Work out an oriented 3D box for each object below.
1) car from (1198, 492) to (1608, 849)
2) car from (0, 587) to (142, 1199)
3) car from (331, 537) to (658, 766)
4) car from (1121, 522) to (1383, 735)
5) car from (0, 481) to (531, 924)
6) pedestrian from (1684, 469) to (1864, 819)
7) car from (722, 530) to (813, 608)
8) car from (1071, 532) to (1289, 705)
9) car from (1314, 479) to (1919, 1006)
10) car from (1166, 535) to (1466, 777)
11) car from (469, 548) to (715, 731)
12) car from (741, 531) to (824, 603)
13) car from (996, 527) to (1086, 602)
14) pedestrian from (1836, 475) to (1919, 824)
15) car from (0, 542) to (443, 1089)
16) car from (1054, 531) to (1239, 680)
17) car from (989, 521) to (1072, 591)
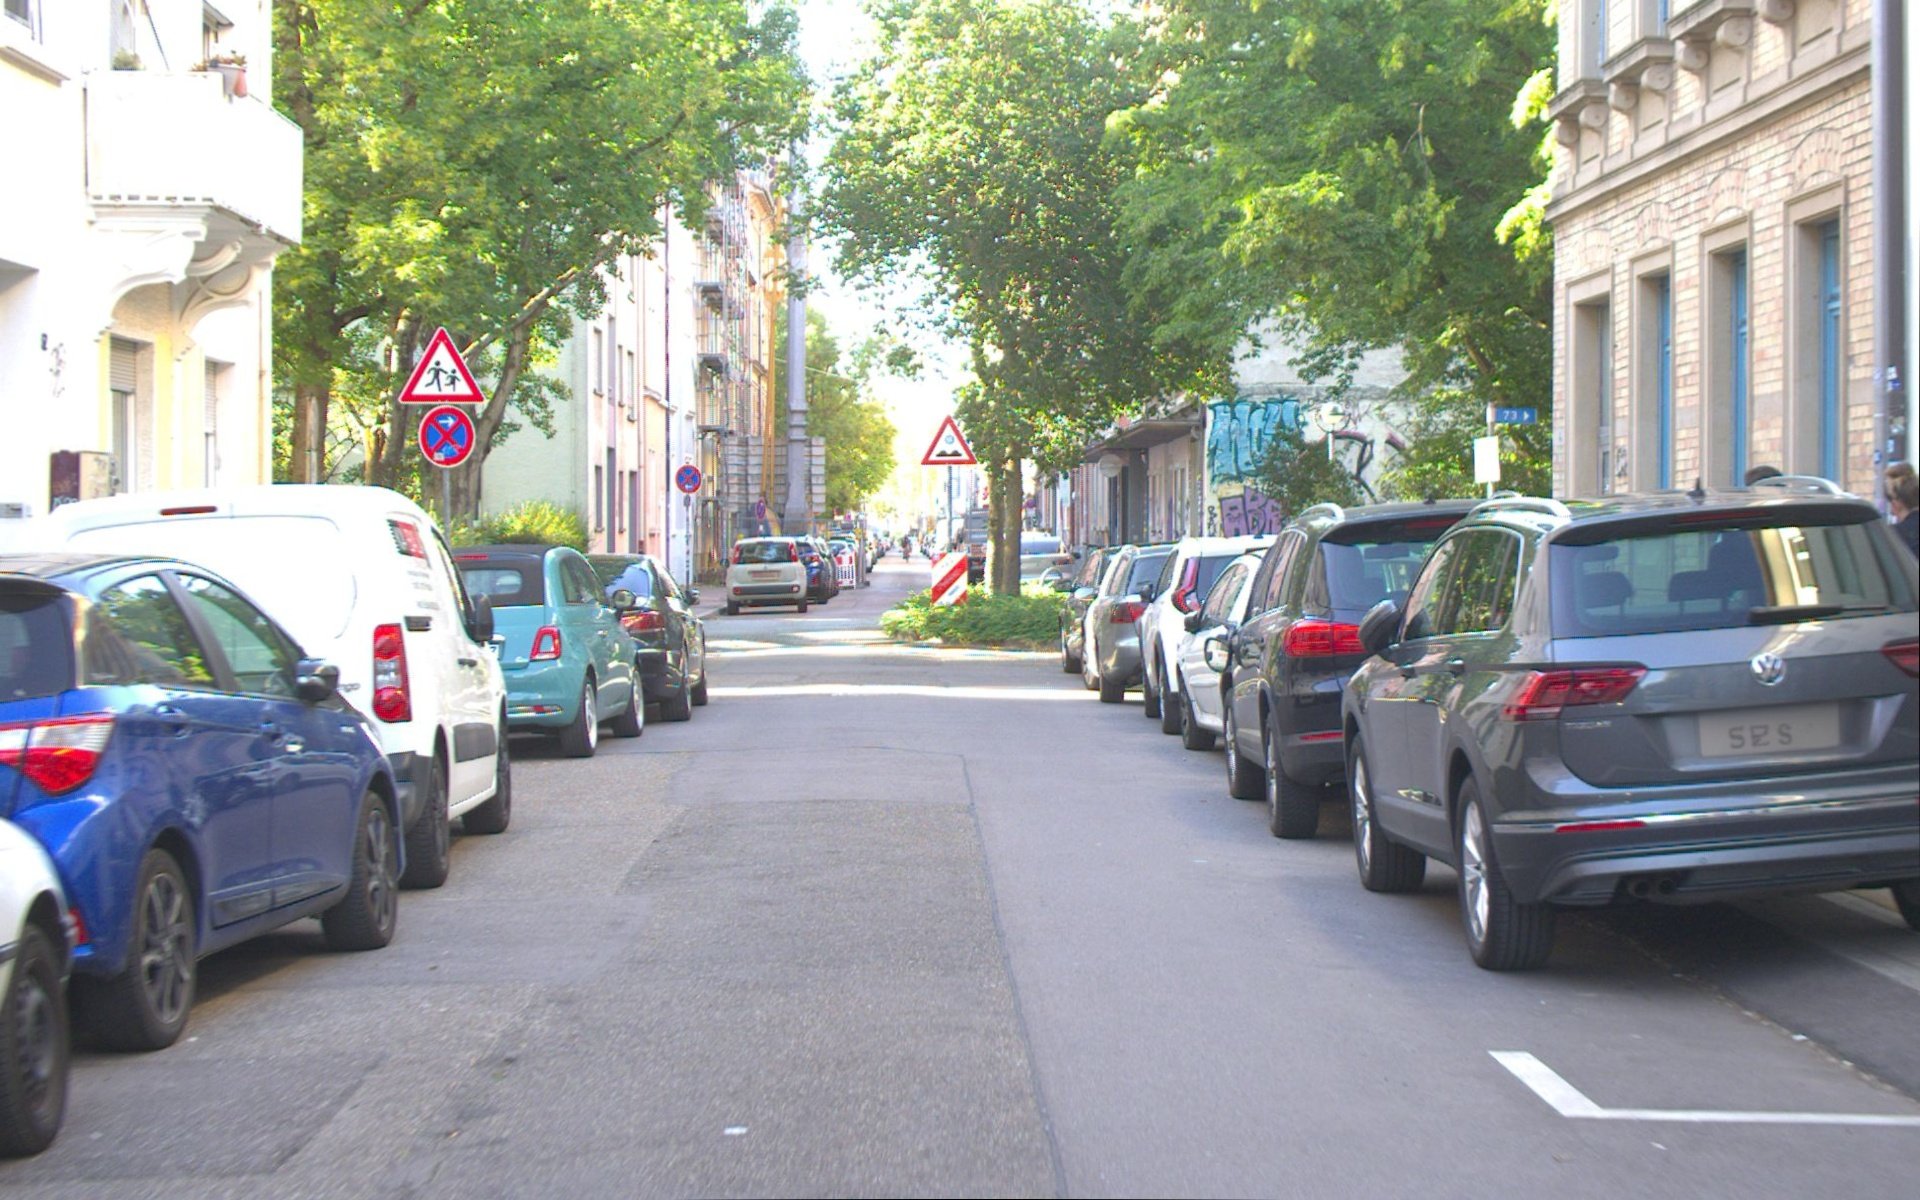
[{"bbox_3d":[2.277,0.324,18.629,1.676,1.676,4.094,-2,0,0],"label":"car"},{"bbox_3d":[-3.040,0.731,7.199,1.673,1.383,4.182,-2,1,-1],"label":"car"},{"bbox_3d":[-3.300,0.314,25.020,1.670,1.464,3.820,-2,1,2],"label":"car"},{"bbox_3d":[2.289,0.173,27.802,1.675,1.556,3.796,-2,1,-1],"label":"car"},{"bbox_3d":[-3.143,0.378,16.227,1.765,1.779,4.039,-2,1,-1],"label":"car"},{"bbox_3d":[3.932,0.201,16.637,0.685,1.654,0.717,-1,1,-1],"label":"pedestrian"},{"bbox_3d":[-3.890,-0.651,70.119,1.675,1.482,4.095,-2,1,-1],"label":"car"},{"bbox_3d":[2.027,0.127,32.706,1.675,1.482,4.095,-2,1,-1],"label":"car"},{"bbox_3d":[2.527,0.420,13.339,1.676,1.621,4.251,-4,1,-1],"label":"car"},{"bbox_3d":[2.367,0.320,23.592,1.566,1.478,3.619,-2,1,-1],"label":"car"},{"bbox_3d":[-3.042,0.280,29.113,1.670,1.356,4.049,-2,1,-1],"label":"car"},{"bbox_3d":[-3.877,-0.743,75.638,1.675,1.482,4.095,-2,1,-1],"label":"car"},{"bbox_3d":[1.660,-0.762,71.586,1.675,1.482,3.638,-2,1,-1],"label":"car"},{"bbox_3d":[4.688,0.224,16.655,0.685,1.654,0.717,-1,1,-1],"label":"pedestrian"},{"bbox_3d":[-3.049,0.587,11.613,1.674,1.481,3.991,-2,1,5],"label":"car"},{"bbox_3d":[1.994,0.017,37.707,1.675,1.482,4.095,-2,1,-1],"label":"car"},{"bbox_3d":[1.583,-1.018,78.115,1.675,1.482,3.638,-2,1,-1],"label":"car"}]
